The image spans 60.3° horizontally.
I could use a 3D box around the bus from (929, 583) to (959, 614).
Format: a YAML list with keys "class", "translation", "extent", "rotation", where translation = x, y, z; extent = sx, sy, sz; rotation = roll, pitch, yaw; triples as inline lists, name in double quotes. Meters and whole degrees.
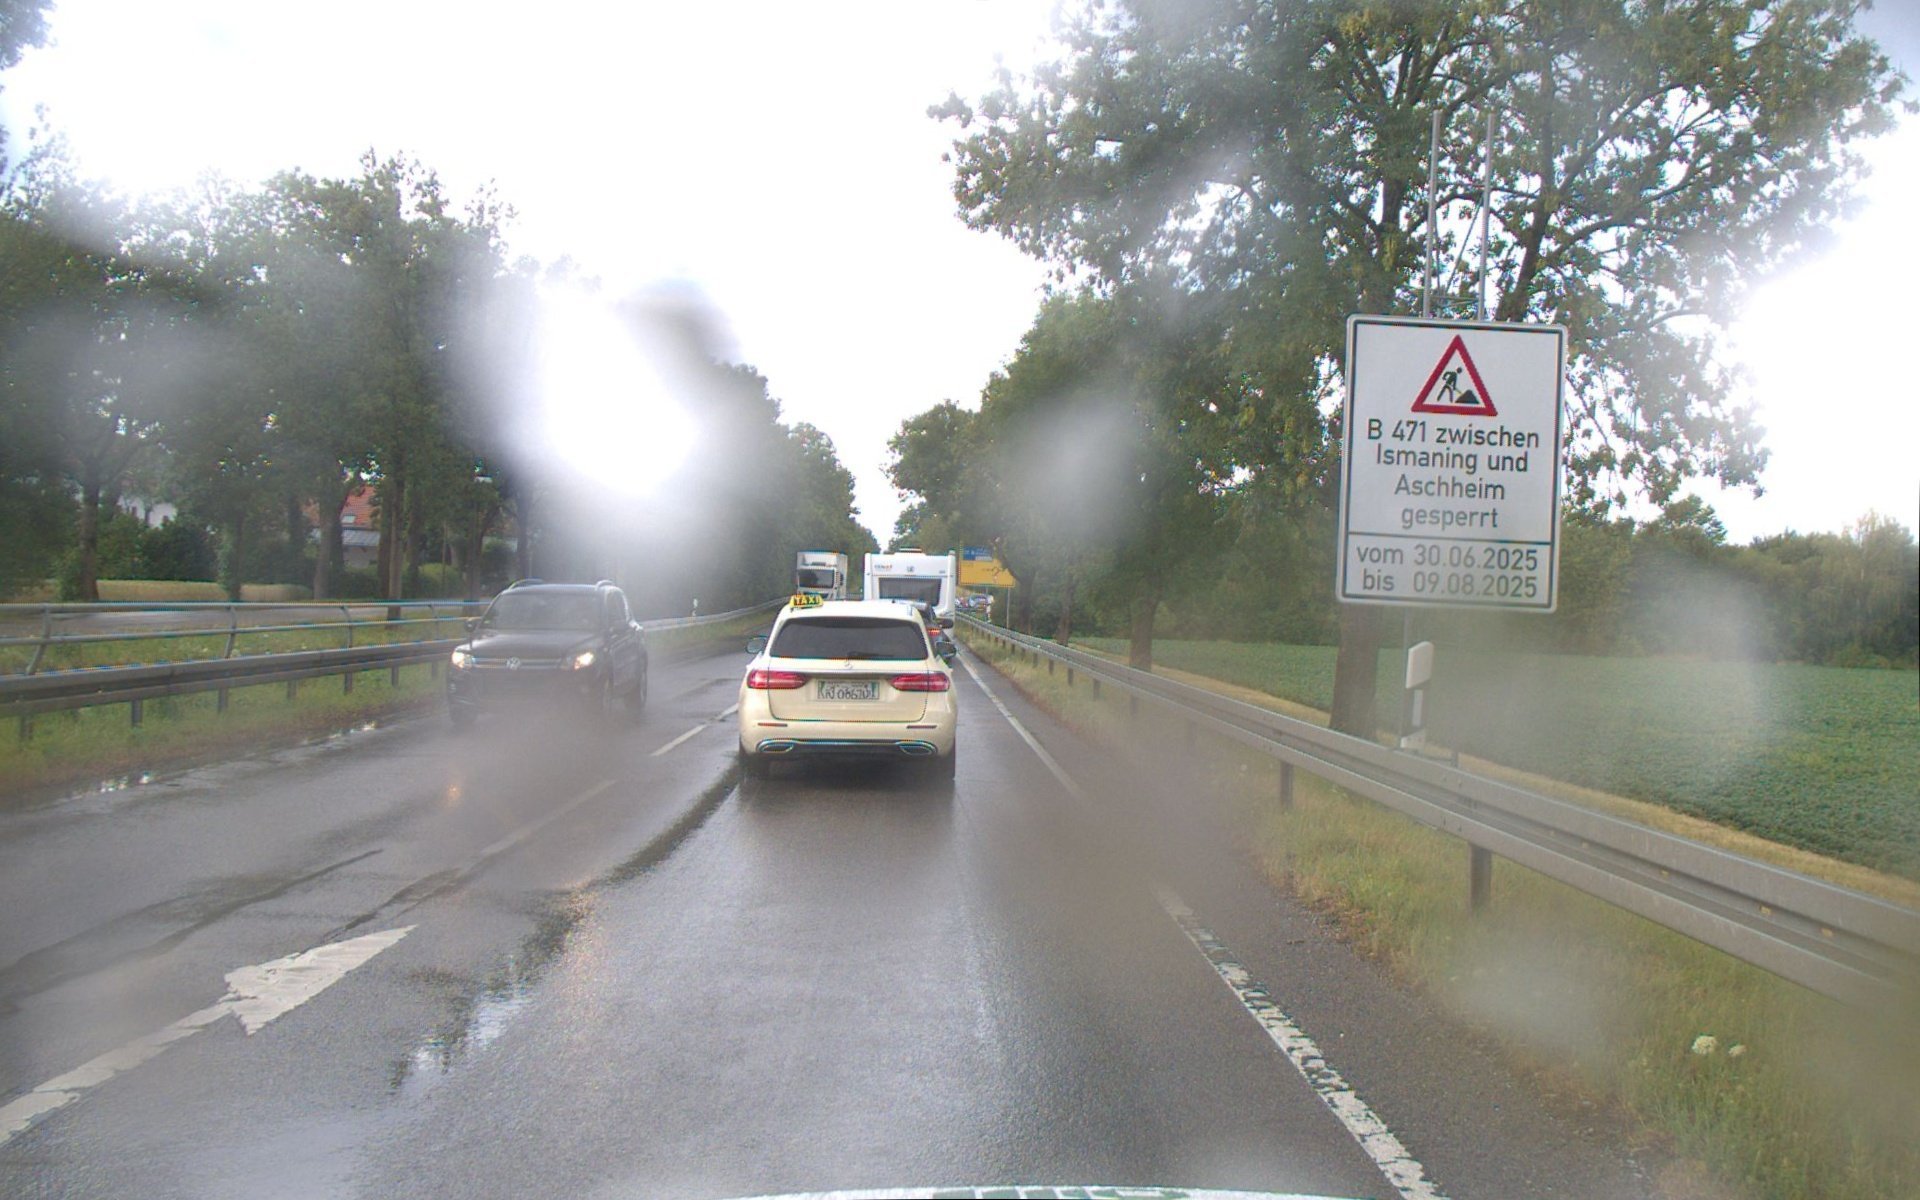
- class: "bus"
  translation: [-1.085, -0.095, 113.494]
  extent: [1.953, 2.049, 3.998]
  rotation: [0, 0, -2]

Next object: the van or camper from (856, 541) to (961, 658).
- class: "van or camper"
  translation: [-1.260, -0.017, 42.336]
  extent: [2.439, 2.732, 5.699]
  rotation: [1, 0, -1]

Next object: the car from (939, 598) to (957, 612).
- class: "car"
  translation: [-1.098, 0.436, 144.762]
  extent: [1.520, 1.138, 3.999]
  rotation: [1, 0, -1]

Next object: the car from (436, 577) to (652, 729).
- class: "car"
  translation: [-4.892, 0.571, 19.990]
  extent: [1.729, 1.647, 3.998]
  rotation: [1, 0, -2]

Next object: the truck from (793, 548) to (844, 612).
- class: "truck"
  translation: [-8.112, -1.114, 95.597]
  extent: [2.525, 3.513, 9.550]
  rotation: [0, 0, -3]

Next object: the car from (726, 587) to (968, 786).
- class: "car"
  translation: [-0.883, 0.659, 14.620]
  extent: [1.827, 1.502, 3.999]
  rotation: [1, 0, -1]

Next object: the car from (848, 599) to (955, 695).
- class: "car"
  translation: [-0.922, 0.716, 27.466]
  extent: [1.630, 1.456, 3.999]
  rotation: [1, 0, -1]
